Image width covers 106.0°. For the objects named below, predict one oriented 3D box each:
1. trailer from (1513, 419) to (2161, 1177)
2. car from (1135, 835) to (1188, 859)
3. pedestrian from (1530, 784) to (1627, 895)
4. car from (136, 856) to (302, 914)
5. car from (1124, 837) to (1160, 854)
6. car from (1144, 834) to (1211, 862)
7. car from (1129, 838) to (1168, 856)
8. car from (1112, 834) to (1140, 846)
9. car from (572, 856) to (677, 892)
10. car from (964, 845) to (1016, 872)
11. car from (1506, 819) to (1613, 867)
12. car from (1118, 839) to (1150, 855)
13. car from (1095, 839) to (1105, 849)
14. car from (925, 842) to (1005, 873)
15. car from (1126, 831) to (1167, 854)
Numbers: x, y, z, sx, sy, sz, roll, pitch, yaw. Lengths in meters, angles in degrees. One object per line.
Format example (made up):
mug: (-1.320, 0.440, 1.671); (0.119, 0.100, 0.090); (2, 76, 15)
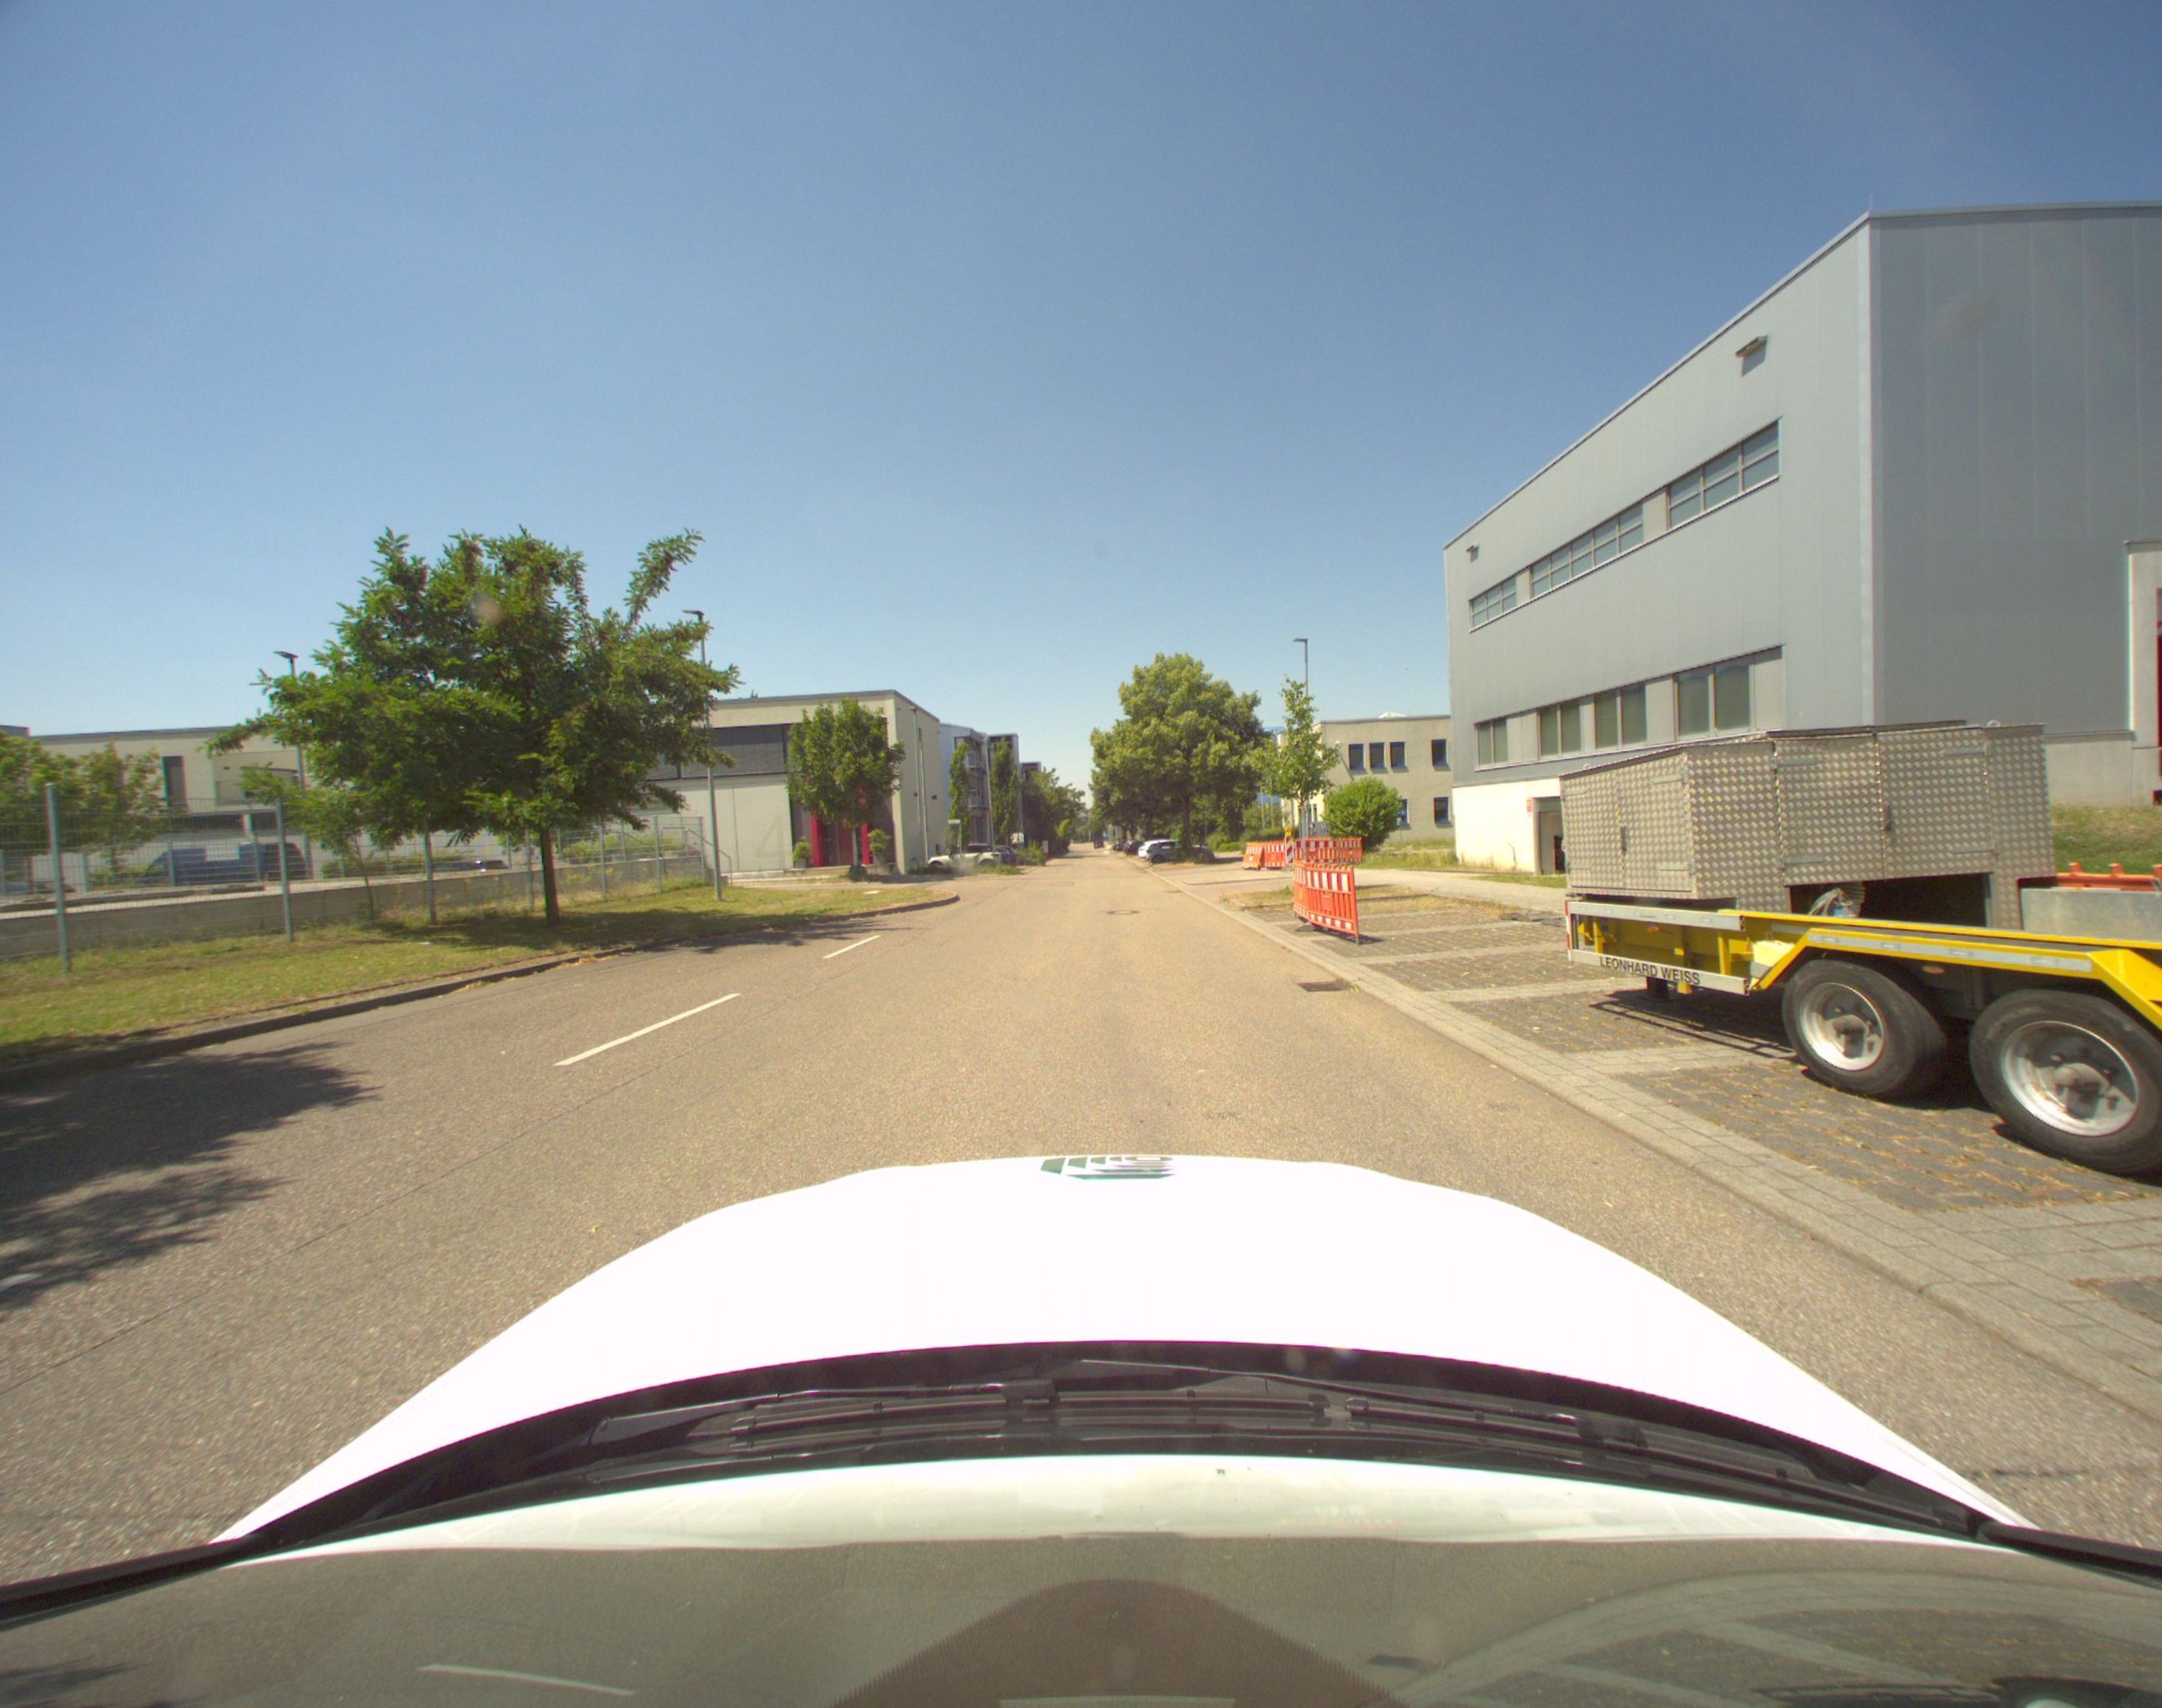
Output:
trailer: (5.335, -0.294, 4.464); (2.650, 2.857, 5.514); (-5, 1, -3)
car: (5.799, -0.512, 59.065); (3.510, 1.354, 1.536); (-5, 1, -4)
pedestrian: (9.032, -0.271, 14.837); (0.864, 1.889, 1.209); (-3, 2, -15)
car: (-39.916, 1.395, 37.816); (5.223, 2.272, 2.134); (-2, 4, 1)
car: (6.463, -0.884, 86.912); (3.709, 1.626, 1.814); (-2, 0, 0)
car: (5.816, -0.362, 49.272); (3.672, 1.354, 1.643); (-5, 1, -4)
car: (6.709, -0.736, 81.456); (3.709, 1.626, 1.814); (-2, 0, 0)
car: (6.707, -2.109, 121.080); (3.928, 1.577, 1.763); (-3, 4, -7)
car: (-21.779, 0.927, 38.932); (3.986, 1.408, 1.658); (-2, 4, 1)
car: (-5.444, 0.264, 48.998); (3.054, 1.478, 1.290); (-2, 0, -6)
car: (17.793, -0.461, 30.519); (1.818, 1.452, 4.006); (-3, 4, 4)
car: (7.070, -0.945, 108.855); (3.928, 1.834, 1.763); (-3, 4, -7)
car: (3.779, -1.986, 160.042); (1.754, 1.755, 3.946); (-2, 1, 2)
car: (-6.247, 0.153, 44.202); (4.035, 1.494, 1.728); (-2, 0, -2)
car: (6.275, -1.096, 78.187); (3.709, 2.110, 1.814); (-2, 0, 0)
